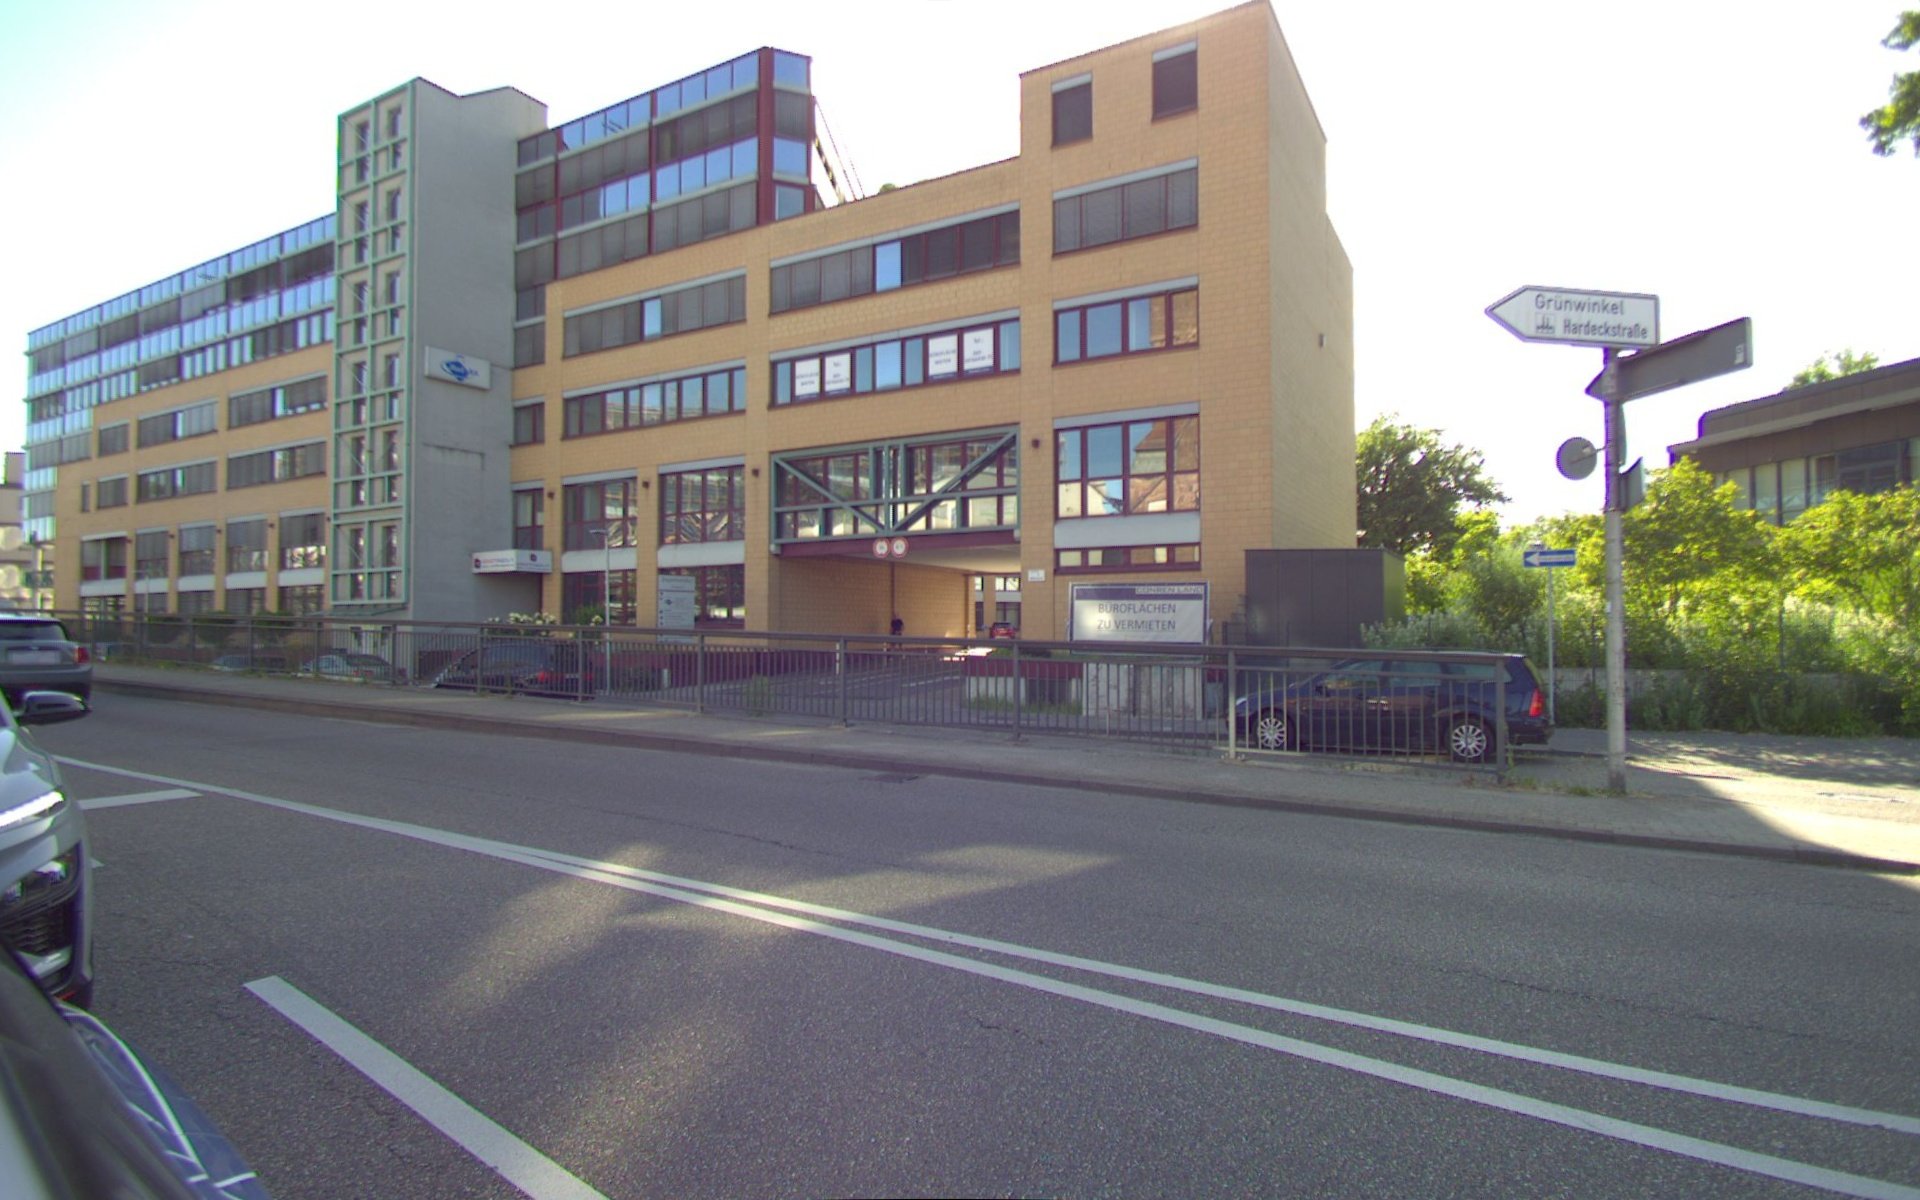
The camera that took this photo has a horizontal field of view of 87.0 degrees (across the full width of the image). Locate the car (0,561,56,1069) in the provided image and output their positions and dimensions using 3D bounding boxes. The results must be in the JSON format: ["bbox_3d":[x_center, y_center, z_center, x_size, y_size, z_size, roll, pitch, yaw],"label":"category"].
[{"bbox_3d":[-5.087,0.679,3.956,4.219,1.582,1.825,-1,-1,42],"label":"car"}]

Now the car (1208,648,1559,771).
[{"bbox_3d":[6.064,1.466,14.687,4.438,1.515,1.805,-2,-3,33],"label":"car"}]

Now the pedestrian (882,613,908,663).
[{"bbox_3d":[-2.435,1.432,38.108,0.676,1.858,0.779,-2,-3,28],"label":"pedestrian"}]

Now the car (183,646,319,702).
[{"bbox_3d":[-22.202,2.256,31.666,4.340,1.616,1.807,-1,-3,30],"label":"car"}]

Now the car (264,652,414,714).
[{"bbox_3d":[-17.735,2.311,28.857,4.340,1.616,1.807,-1,-3,30],"label":"car"}]

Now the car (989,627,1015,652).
[{"bbox_3d":[2.756,2.601,66.725,1.621,1.586,3.150,-1,-2,2],"label":"car"}]

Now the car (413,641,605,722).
[{"bbox_3d":[-11.147,1.929,24.936,4.667,1.771,1.938,-1,-1,29],"label":"car"}]

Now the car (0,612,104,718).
[{"bbox_3d":[-15.719,0.976,16.379,3.900,1.468,1.673,2,-1,31],"label":"car"}]
